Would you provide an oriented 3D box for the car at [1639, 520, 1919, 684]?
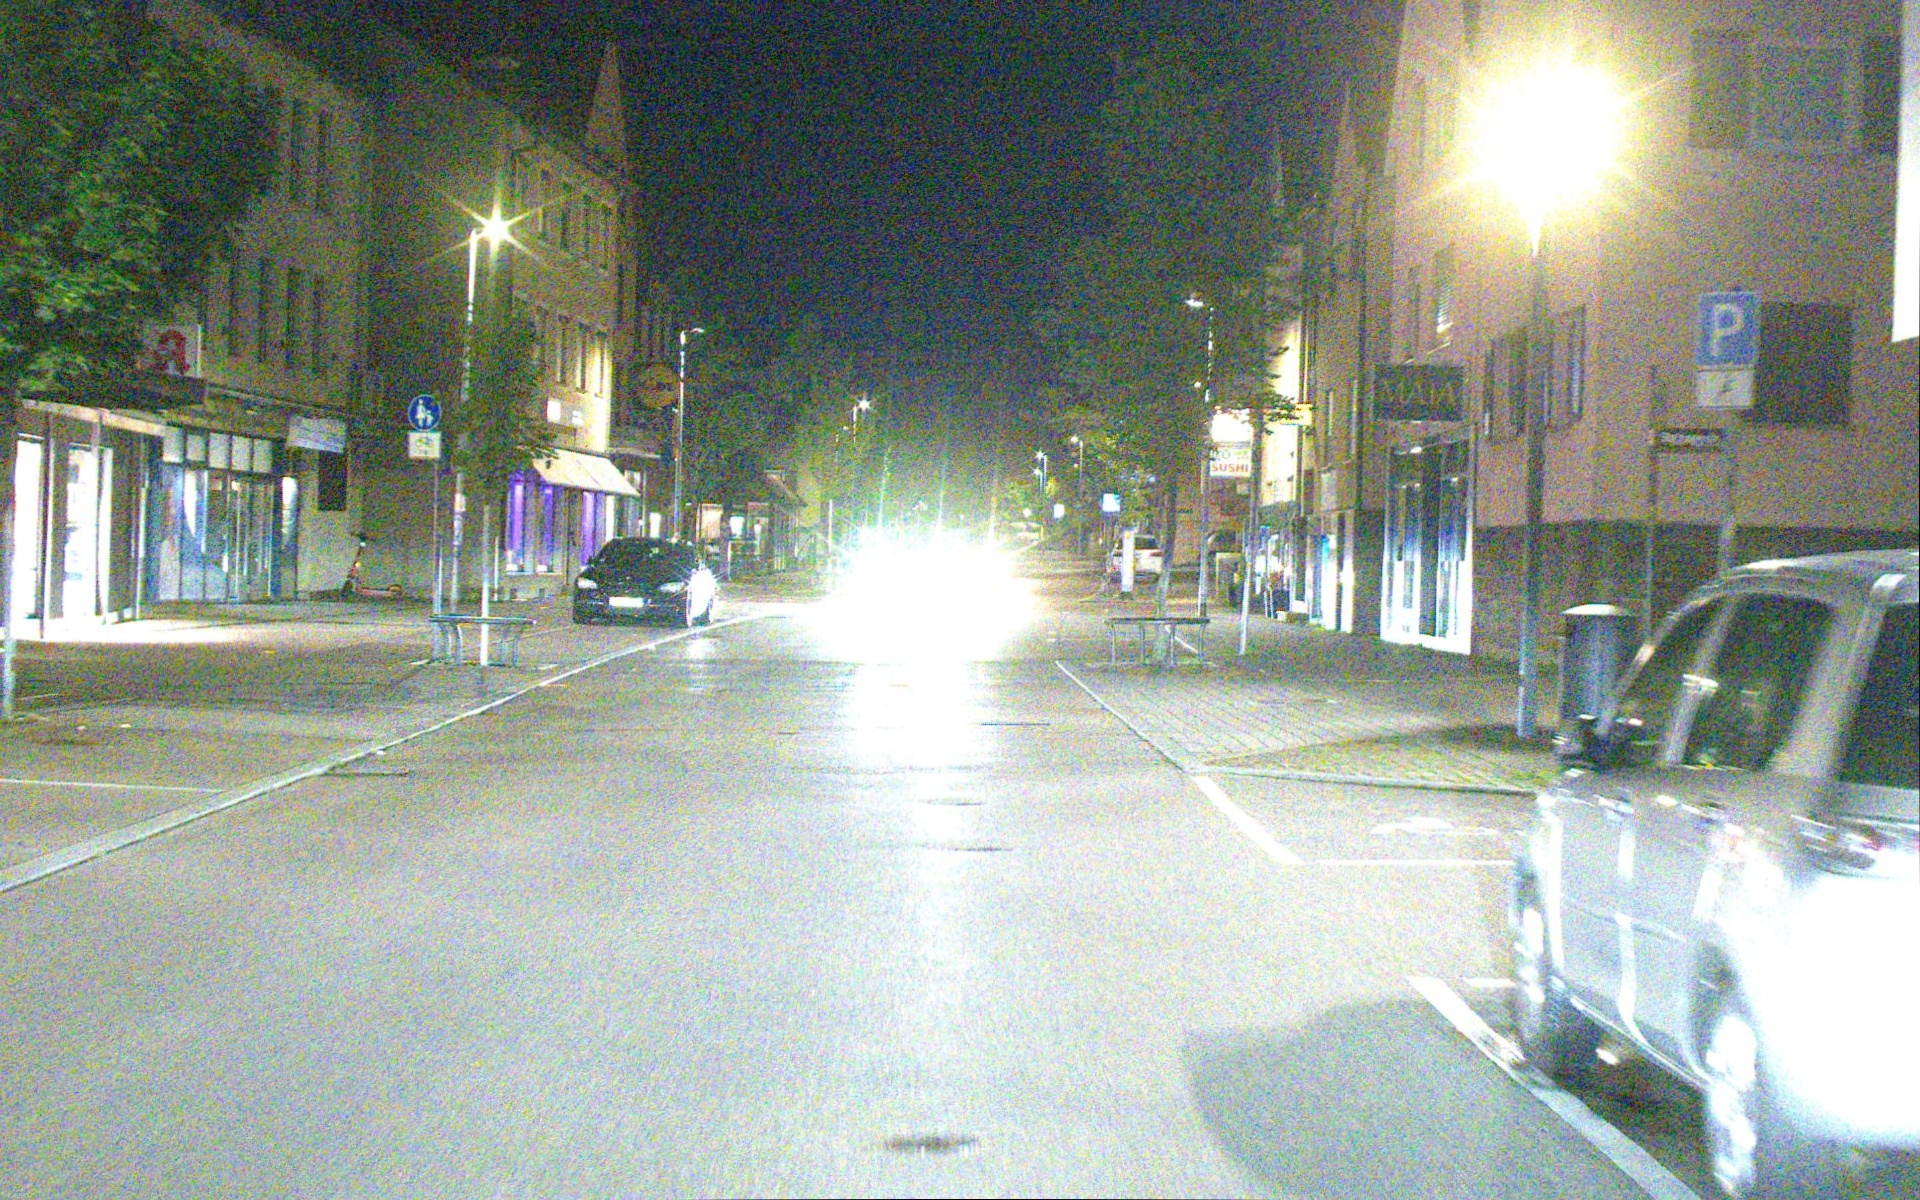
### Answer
[{"bbox_3d":[8.844,-0.018,33.586,3.986,1.471,1.752,-2,0,-2],"label":"car"}]

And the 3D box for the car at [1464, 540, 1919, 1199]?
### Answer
[{"bbox_3d":[2.444,0.605,8.712,1.674,1.455,3.676,1,0,-2],"label":"car"}]

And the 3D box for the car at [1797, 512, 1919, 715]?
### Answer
[{"bbox_3d":[9.255,0.013,28.541,4.076,1.576,1.817,-3,2,-3],"label":"car"}]

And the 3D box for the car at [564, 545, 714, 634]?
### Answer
[{"bbox_3d":[-5.279,-0.202,57.000,1.914,1.366,4.457,1,1,2],"label":"car"}]

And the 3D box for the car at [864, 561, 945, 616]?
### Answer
[{"bbox_3d":[-1.289,-0.294,81.202,1.723,1.242,4.237,1,1,1],"label":"car"}]

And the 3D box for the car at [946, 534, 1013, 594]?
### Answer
[{"bbox_3d":[0.570,-1.035,97.035,1.775,1.647,4.364,1,1,2],"label":"car"}]

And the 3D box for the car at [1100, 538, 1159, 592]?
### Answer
[{"bbox_3d":[5.421,-1.138,110.489,1.775,1.647,4.364,1,1,1],"label":"car"}]

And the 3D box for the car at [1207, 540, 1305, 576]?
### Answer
[{"bbox_3d":[12.356,-1.752,143.415,3.988,1.412,1.999,1,-1,6],"label":"car"}]
